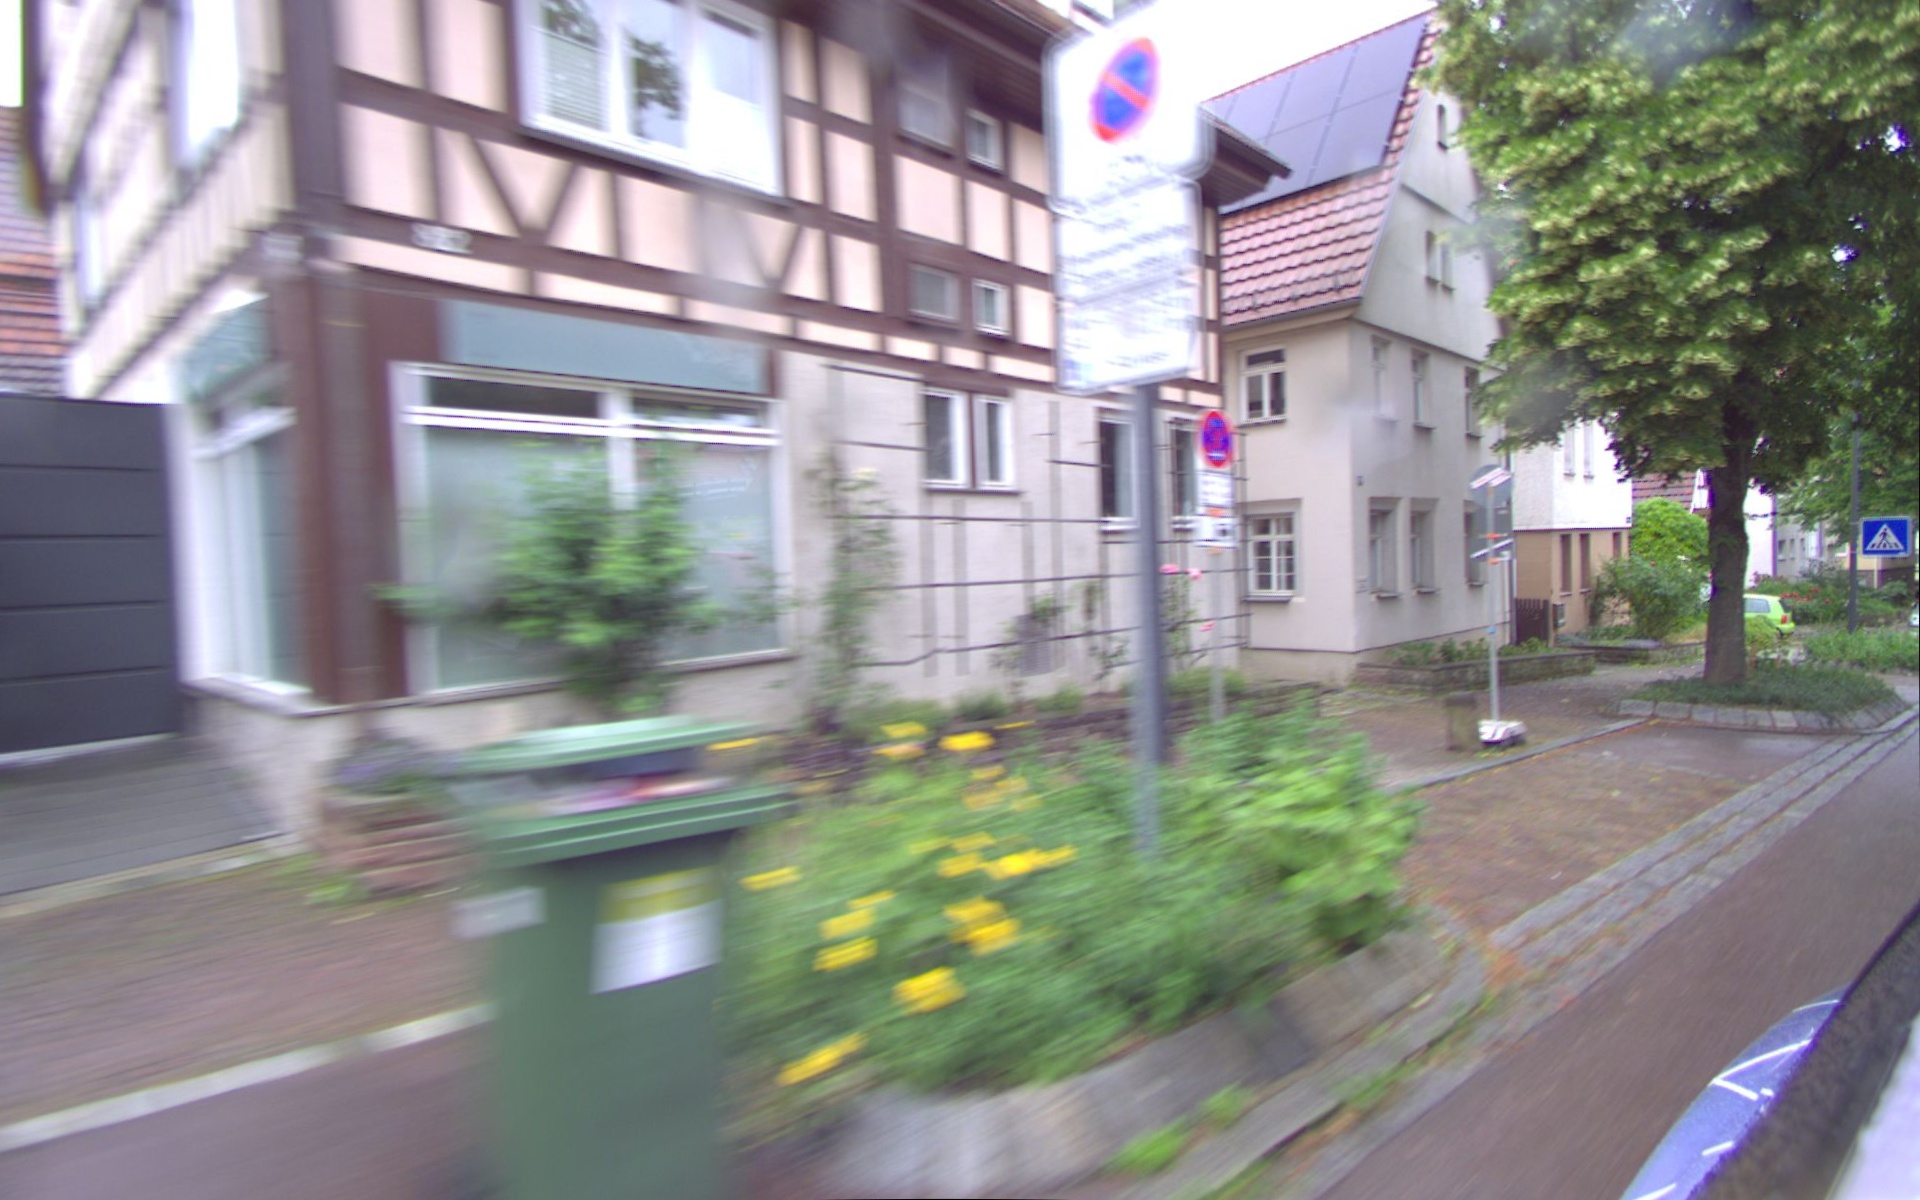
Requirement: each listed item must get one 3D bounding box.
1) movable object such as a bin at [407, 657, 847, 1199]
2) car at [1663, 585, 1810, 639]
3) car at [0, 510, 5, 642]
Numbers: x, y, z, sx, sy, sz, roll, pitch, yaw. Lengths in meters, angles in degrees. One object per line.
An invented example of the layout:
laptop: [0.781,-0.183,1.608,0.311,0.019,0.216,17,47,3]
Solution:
movable object such as a bin: [-0.747,0.777,2.244,0.714,1.228,0.722,0,0,-40]
car: [23.842,0.321,31.133,1.604,1.448,3.368,-1,3,-44]
car: [-11.578,-0.228,10.575,1.805,1.736,4.000,-2,4,-36]
